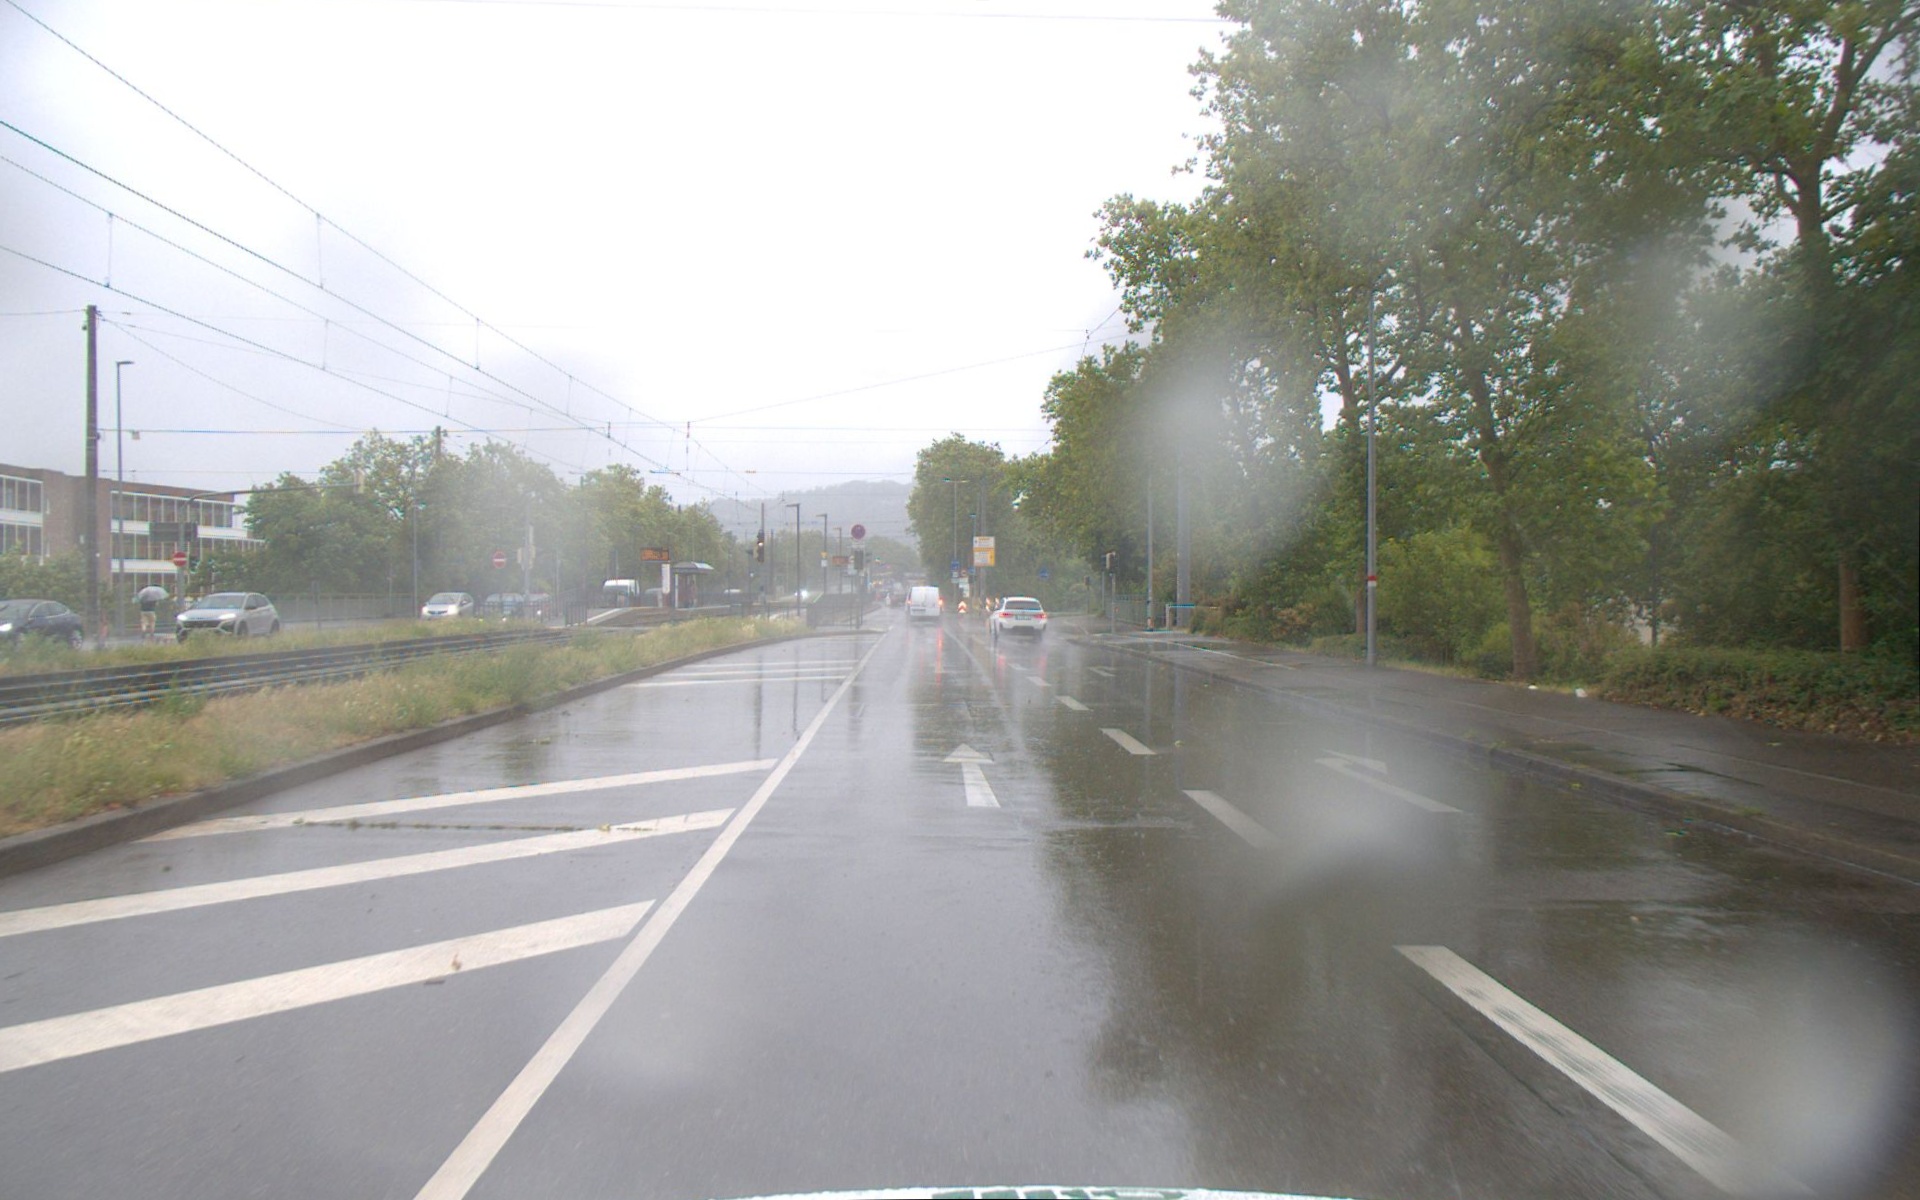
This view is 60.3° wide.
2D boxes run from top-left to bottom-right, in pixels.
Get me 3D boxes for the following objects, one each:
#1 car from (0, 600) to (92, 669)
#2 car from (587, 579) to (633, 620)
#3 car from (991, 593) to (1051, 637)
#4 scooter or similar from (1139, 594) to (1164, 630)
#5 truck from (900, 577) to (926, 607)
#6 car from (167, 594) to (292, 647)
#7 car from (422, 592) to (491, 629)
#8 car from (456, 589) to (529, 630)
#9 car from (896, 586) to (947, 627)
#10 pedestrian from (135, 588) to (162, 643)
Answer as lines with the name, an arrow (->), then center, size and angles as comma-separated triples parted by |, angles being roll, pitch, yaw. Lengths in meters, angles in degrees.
car -> -25.379, 0.877, 44.322 | 1.954, 1.711, 4.537 | 1, 0, -3
car -> -24.540, -0.032, 116.062 | 2.077, 2.760, 5.737 | 1, 0, -1
car -> 2.067, 0.487, 56.795 | 1.850, 1.456, 3.999 | 1, 0, -1
scooter or similar -> 7.294, 0.453, 63.064 | 0.743, 1.315, 1.647 | 1, 0, 1
truck -> -6.312, -1.039, 218.988 | 2.722, 3.769, 9.840 | 1, 0, -6
car -> -21.985, 0.575, 49.964 | 1.953, 1.512, 4.297 | 1, 0, -2
car -> -22.986, 0.463, 75.645 | 1.953, 1.624, 4.093 | 0, 0, -1
car -> -20.441, 0.403, 72.449 | 1.953, 1.623, 4.380 | -3, 1, -1
car -> -1.872, 0.290, 78.641 | 1.956, 1.881, 3.993 | 1, 0, -8
pedestrian -> -30.590, 0.586, 62.348 | 0.684, 2.049, 0.696 | 1, 0, -1
